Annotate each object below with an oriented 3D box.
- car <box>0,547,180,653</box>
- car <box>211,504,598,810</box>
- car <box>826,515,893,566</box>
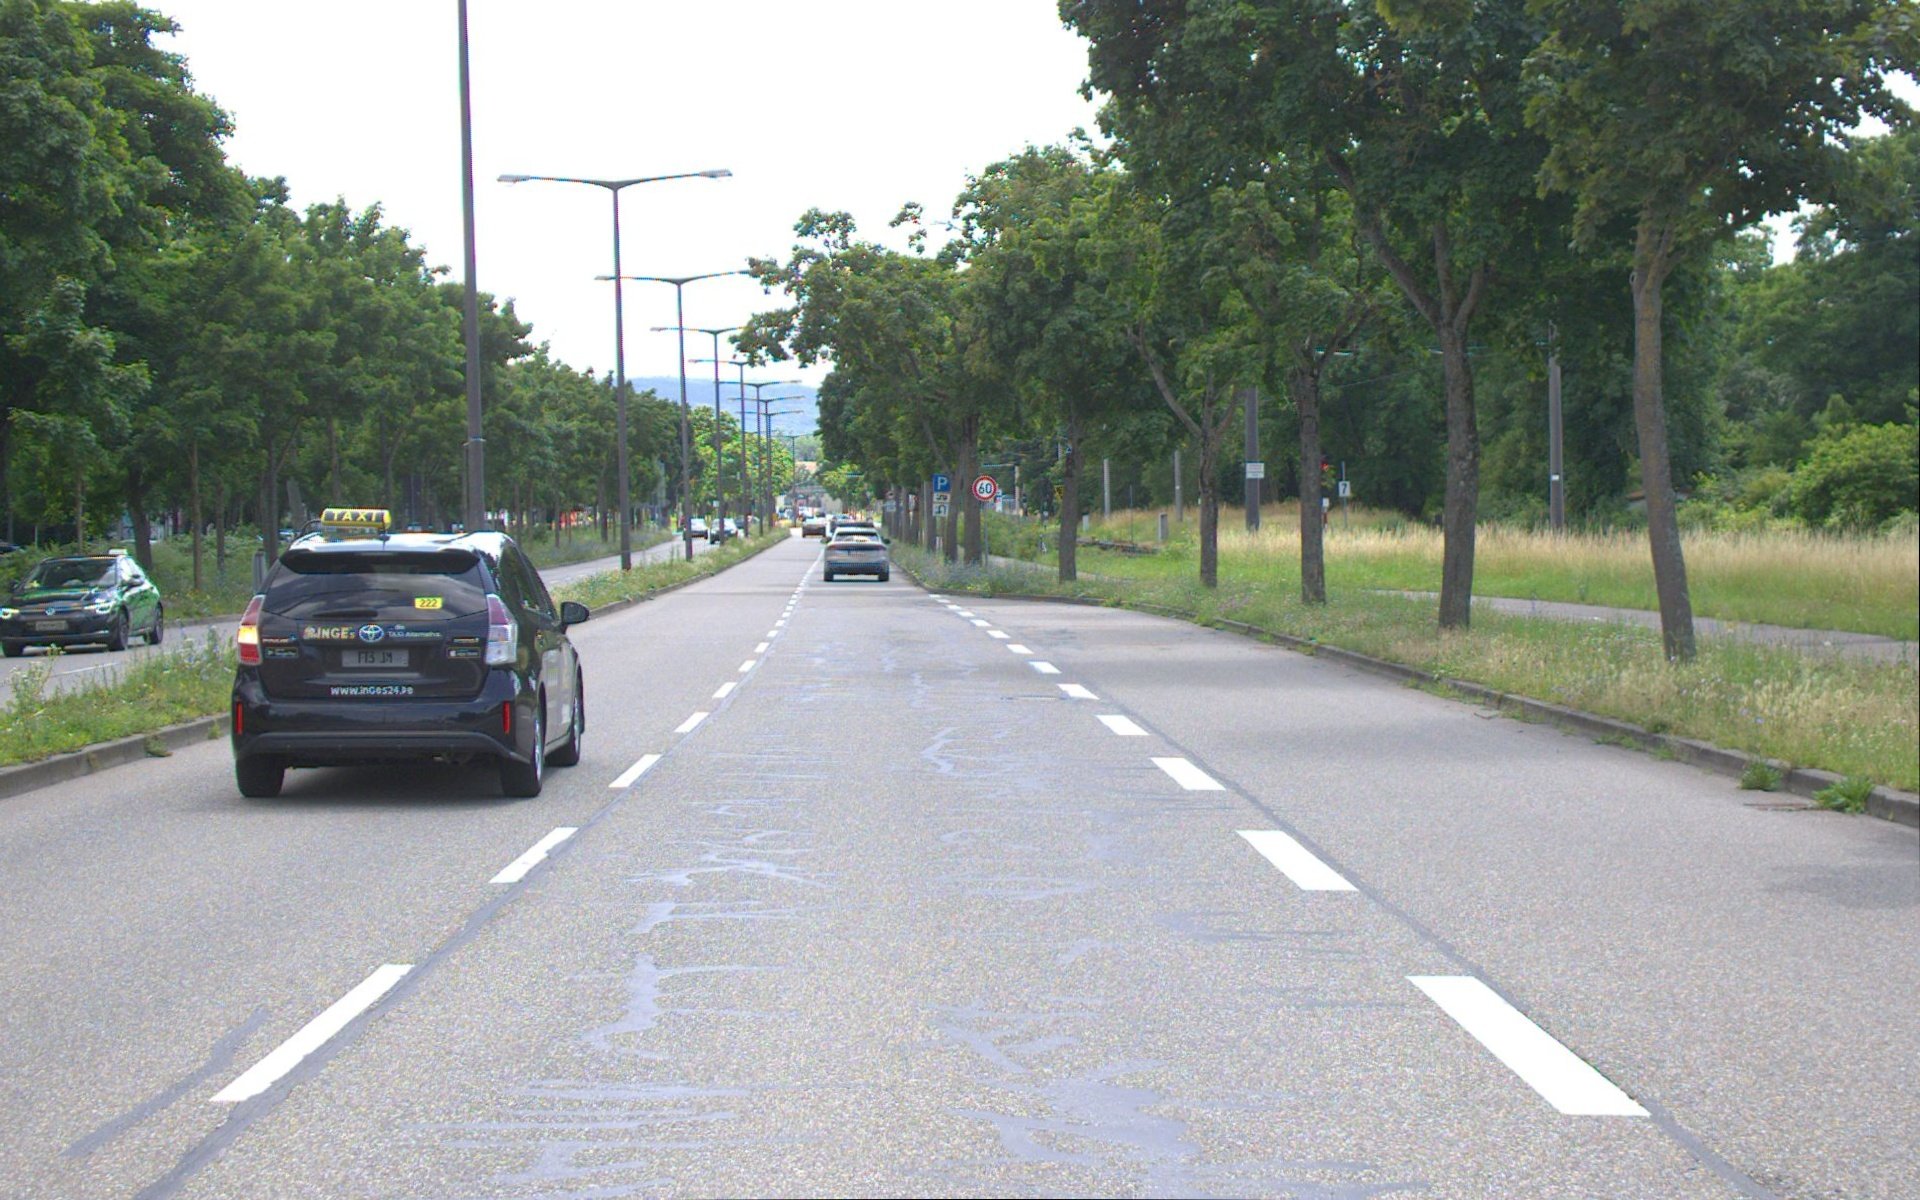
[{"bbox_3d":[-13.086,-0.034,51.854,1.754,1.454,4.470,0,2,-2],"label":"car"},{"bbox_3d":[-3.323,0.265,21.261,1.779,1.678,4.001,0,2,-1],"label":"car"},{"bbox_3d":[-3.120,-1.850,106.008,1.993,1.503,4.001,0,2,-2],"label":"car"}]
